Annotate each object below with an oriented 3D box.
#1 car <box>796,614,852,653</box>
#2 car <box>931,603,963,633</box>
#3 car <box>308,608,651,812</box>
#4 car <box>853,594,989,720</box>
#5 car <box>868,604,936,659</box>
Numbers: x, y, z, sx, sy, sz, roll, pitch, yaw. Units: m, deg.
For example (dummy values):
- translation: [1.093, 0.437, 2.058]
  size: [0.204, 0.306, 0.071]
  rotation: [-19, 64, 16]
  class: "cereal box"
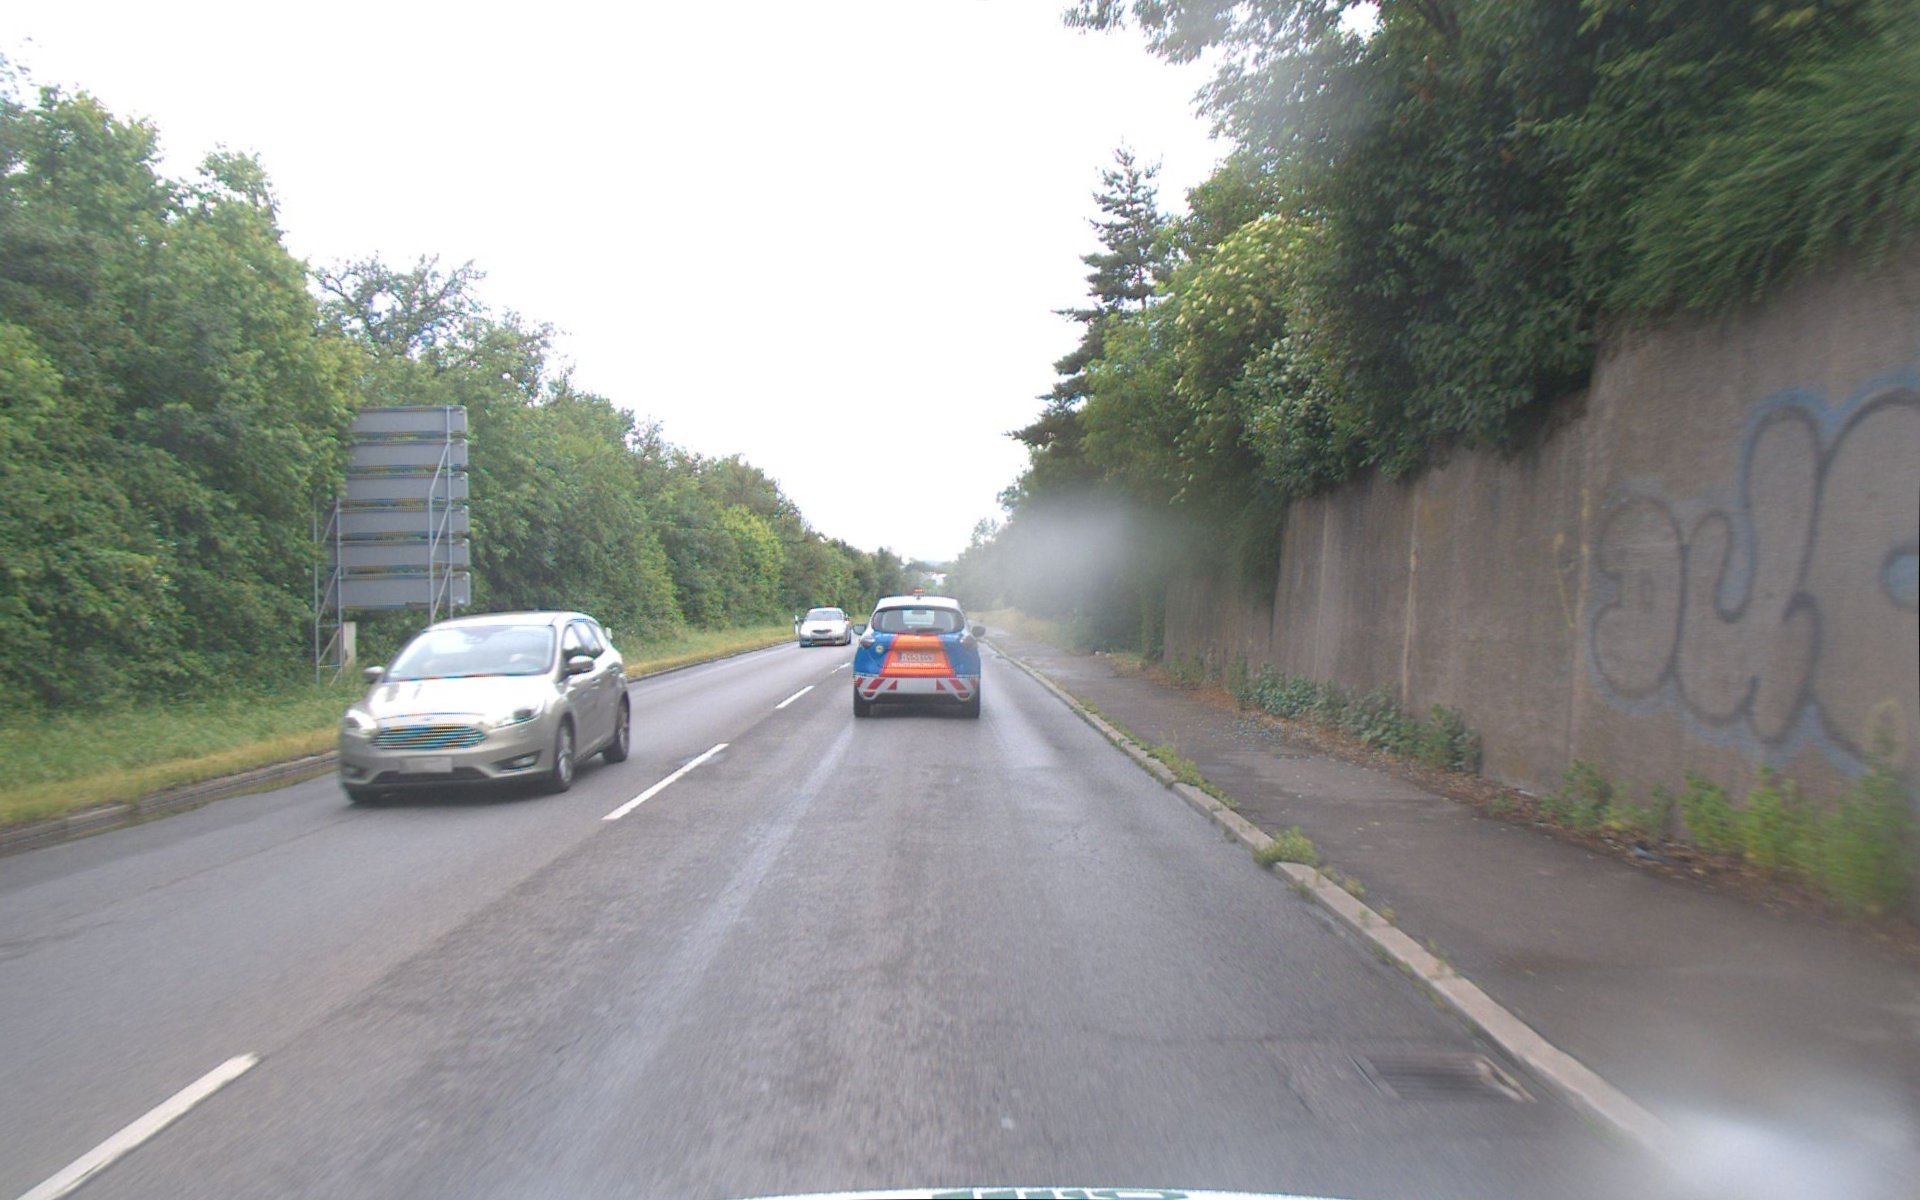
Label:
- translation: [-5.134, 1.258, 62.894]
  size: [1.853, 1.378, 4.380]
  rotation: [-1, 0, -2]
  class: "car"
- translation: [-0.768, 1.026, 96.490]
  size: [1.737, 1.653, 3.998]
  rotation: [-2, 0, -2]
  class: "car"
- translation: [-4.029, 0.842, 14.646]
  size: [1.788, 1.445, 4.319]
  rotation: [-2, 0, -1]
  class: "car"
- translation: [-0.528, 0.720, 22.954]
  size: [1.716, 1.583, 3.791]
  rotation: [0, 0, -1]
  class: "car"
- translation: [-1.438, 0.788, 42.097]
  size: [1.566, 1.309, 3.475]
  rotation: [-1, -1, 0]
  class: "car"
